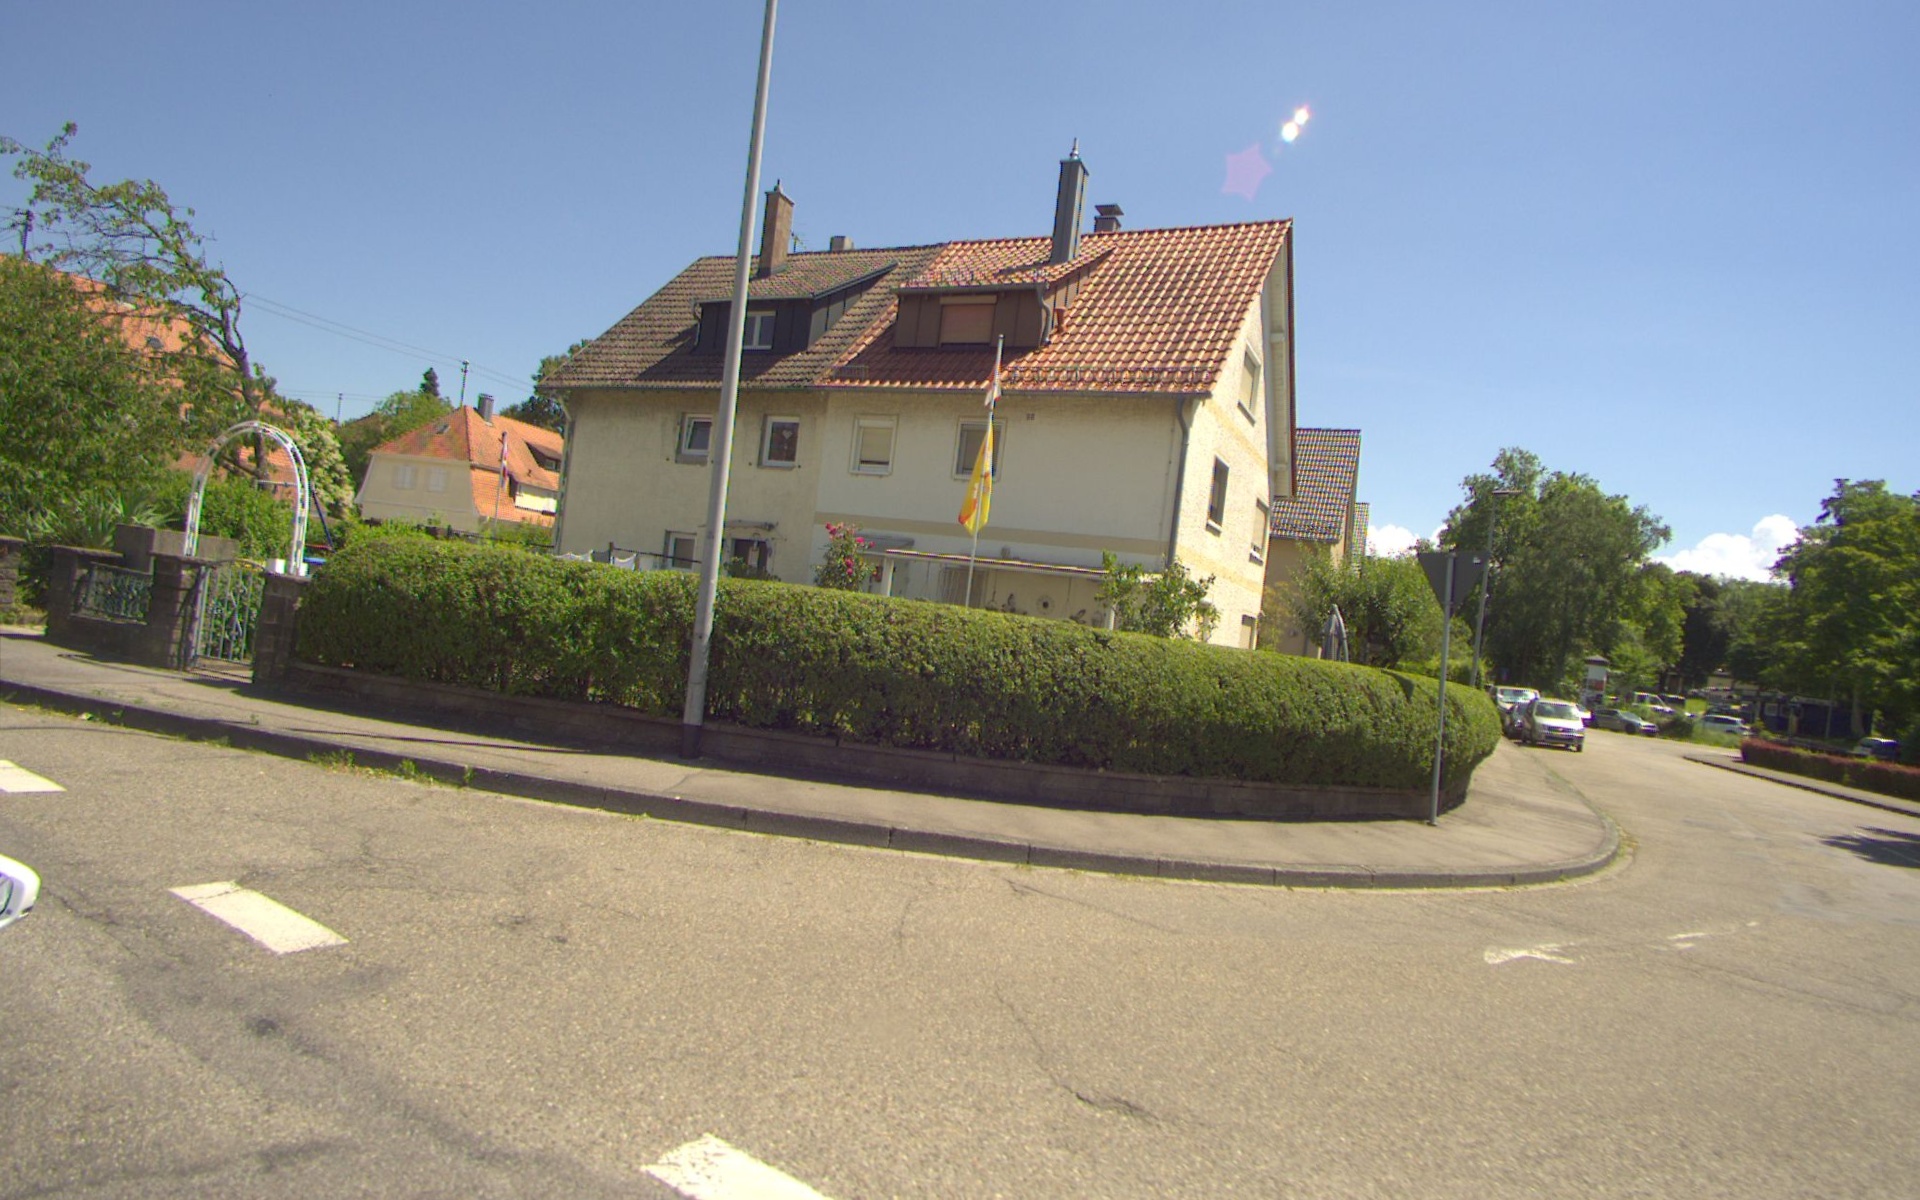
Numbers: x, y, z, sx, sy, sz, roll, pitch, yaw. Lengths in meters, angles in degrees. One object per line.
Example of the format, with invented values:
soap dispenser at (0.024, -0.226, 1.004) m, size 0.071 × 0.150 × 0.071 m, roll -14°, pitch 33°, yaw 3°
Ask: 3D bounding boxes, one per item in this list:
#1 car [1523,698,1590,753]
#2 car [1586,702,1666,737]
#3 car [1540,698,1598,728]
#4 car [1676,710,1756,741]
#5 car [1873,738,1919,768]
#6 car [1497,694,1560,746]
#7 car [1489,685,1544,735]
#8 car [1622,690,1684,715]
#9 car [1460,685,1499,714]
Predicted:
car at (20.883, 4.345, 35.336) m, size 1.680 × 1.651 × 3.850 m, roll 3°, pitch -3°, yaw 27°
car at (40.822, 7.323, 61.768) m, size 1.683 × 1.455 × 3.841 m, roll 7°, pitch -1°, yaw -15°
car at (40.238, 7.446, 66.557) m, size 1.677 × 1.455 × 3.856 m, roll 7°, pitch -1°, yaw 6°
car at (49.979, 8.274, 66.562) m, size 1.695 × 1.455 × 3.814 m, roll 7°, pitch -1°, yaw -37°
car at (57.135, 9.269, 59.975) m, size 3.797 × 1.455 × 1.703 m, roll 7°, pitch -1°, yaw 40°
car at (22.222, 4.633, 39.432) m, size 1.679 × 1.651 × 3.851 m, roll 7°, pitch -1°, yaw 26°
car at (24.388, 4.797, 44.159) m, size 1.679 × 1.846 × 3.851 m, roll 7°, pitch -1°, yaw 26°
car at (55.953, 8.299, 81.231) m, size 3.802 × 1.455 × 1.700 m, roll 6°, pitch -1°, yaw 44°
car at (43.461, 8.297, 84.278) m, size 1.962 × 2.037 × 4.003 m, roll 7°, pitch -1°, yaw 17°
